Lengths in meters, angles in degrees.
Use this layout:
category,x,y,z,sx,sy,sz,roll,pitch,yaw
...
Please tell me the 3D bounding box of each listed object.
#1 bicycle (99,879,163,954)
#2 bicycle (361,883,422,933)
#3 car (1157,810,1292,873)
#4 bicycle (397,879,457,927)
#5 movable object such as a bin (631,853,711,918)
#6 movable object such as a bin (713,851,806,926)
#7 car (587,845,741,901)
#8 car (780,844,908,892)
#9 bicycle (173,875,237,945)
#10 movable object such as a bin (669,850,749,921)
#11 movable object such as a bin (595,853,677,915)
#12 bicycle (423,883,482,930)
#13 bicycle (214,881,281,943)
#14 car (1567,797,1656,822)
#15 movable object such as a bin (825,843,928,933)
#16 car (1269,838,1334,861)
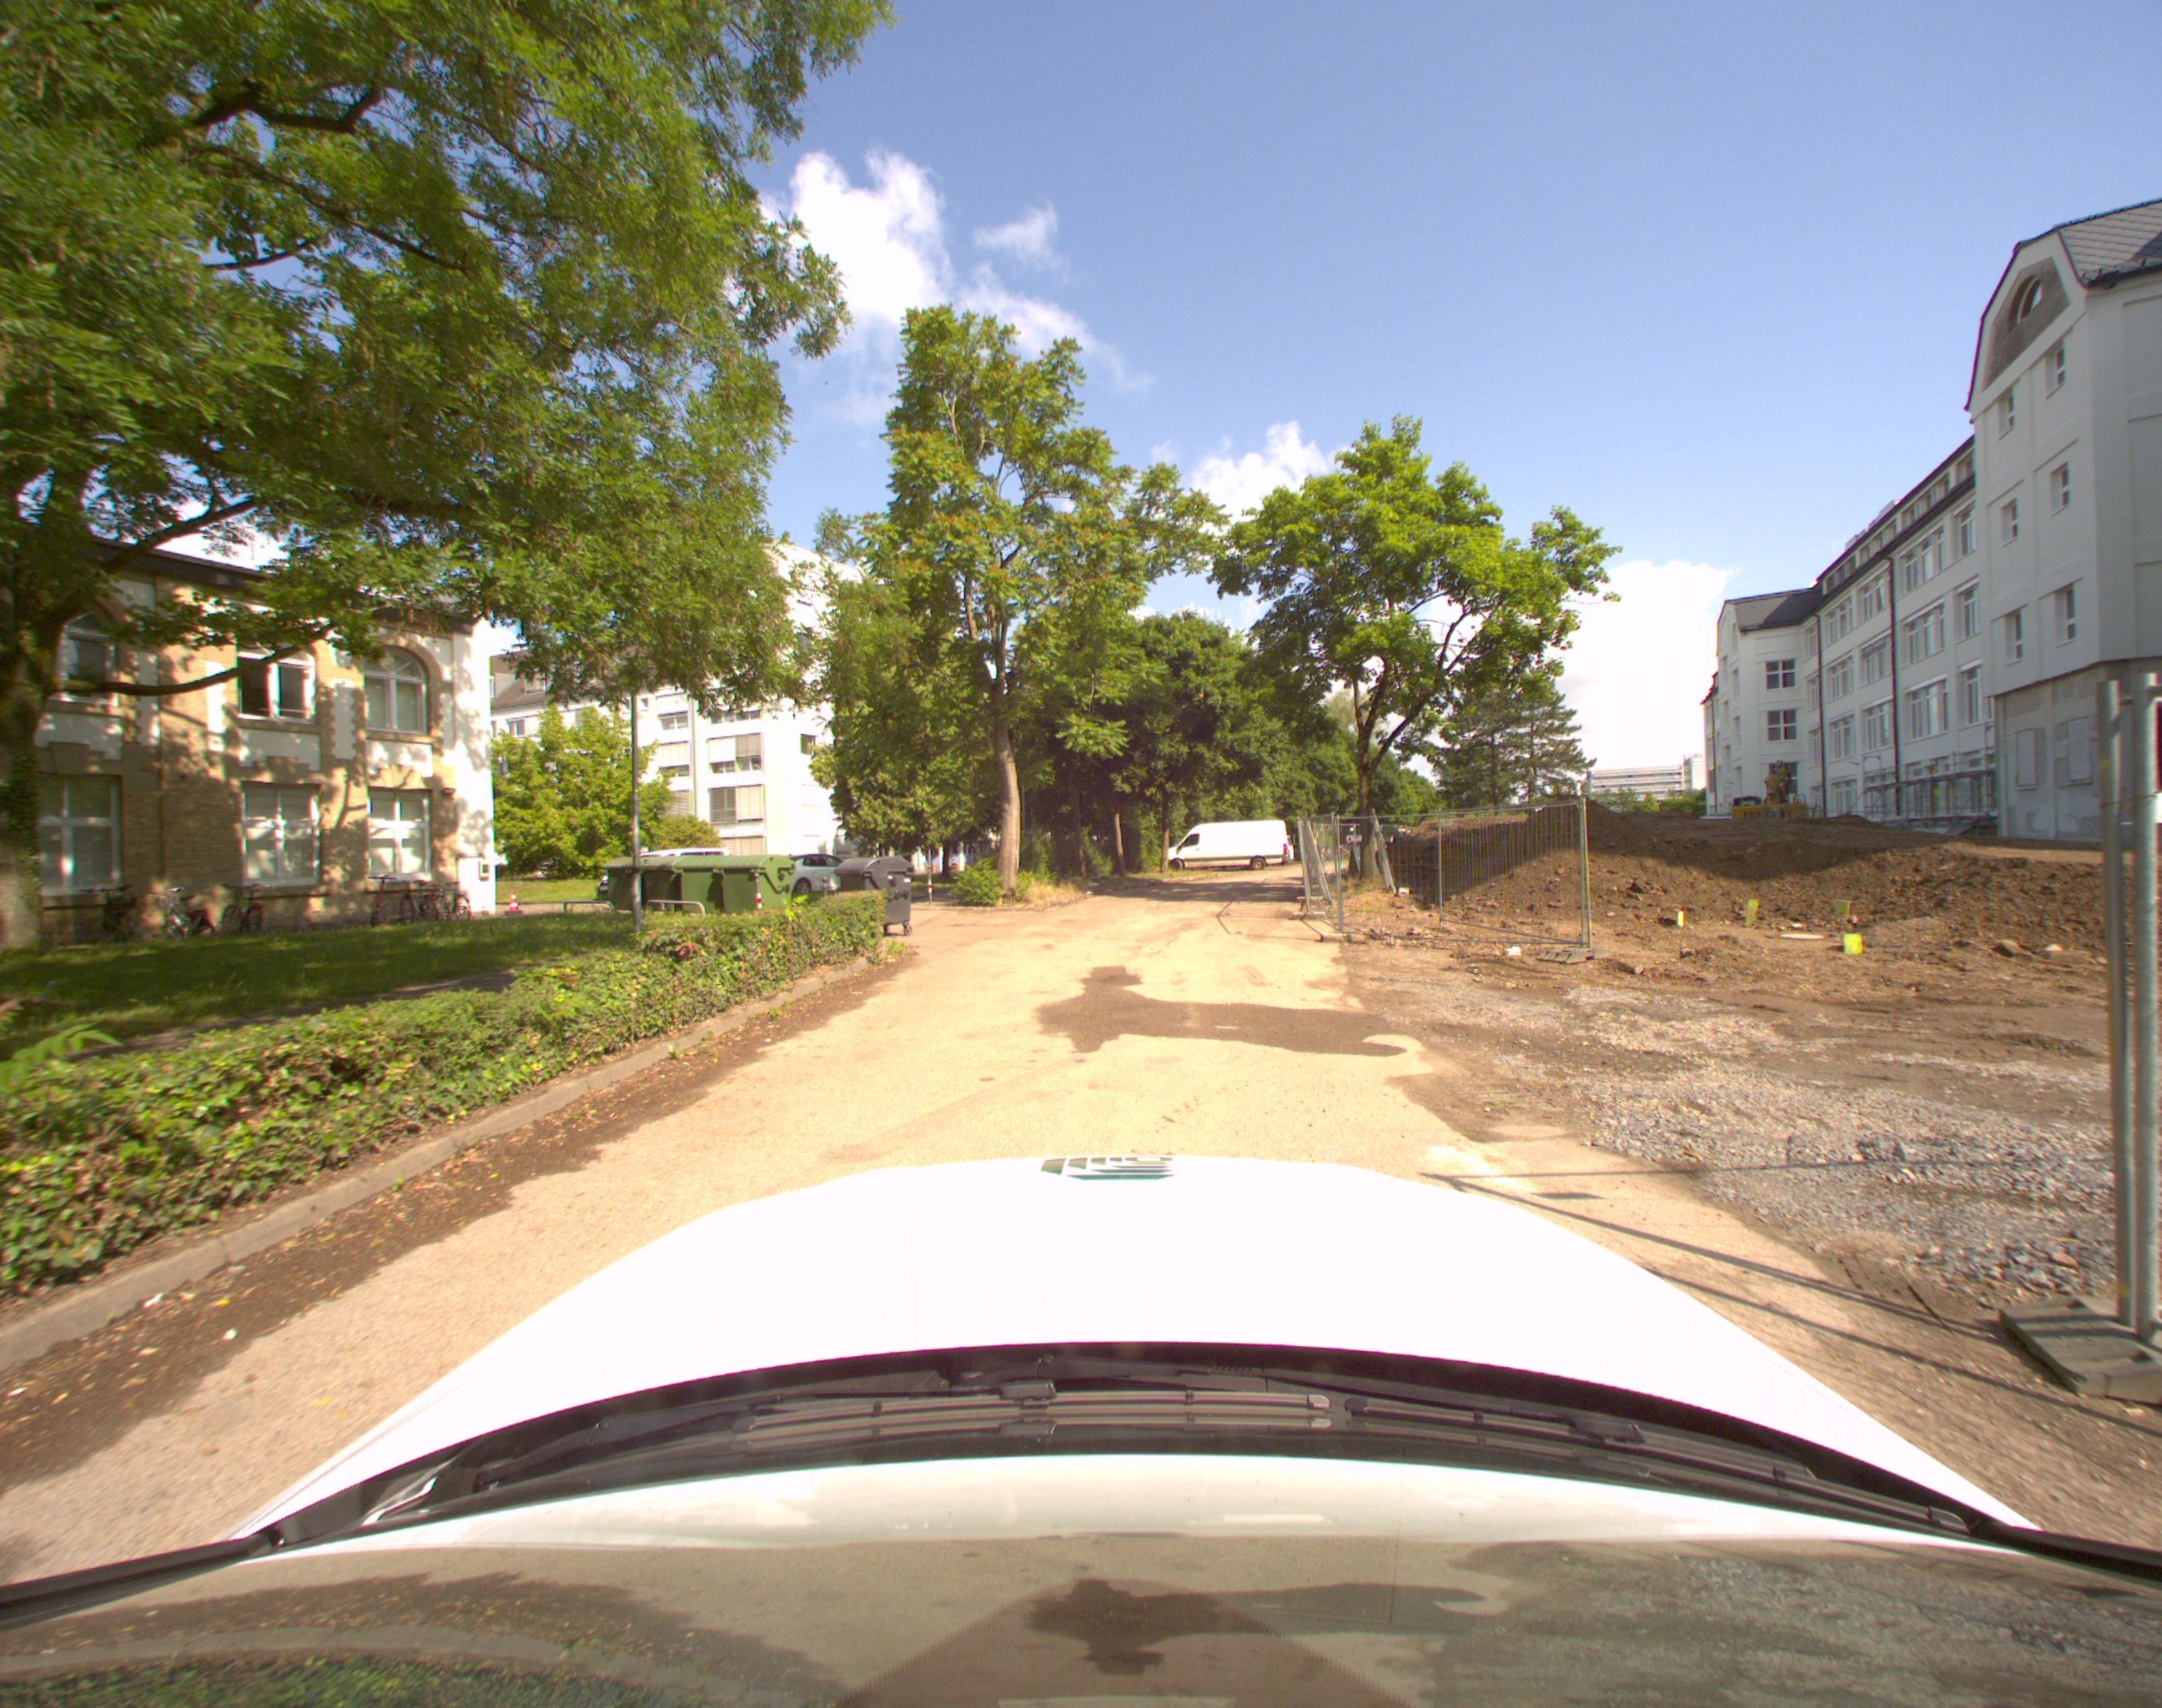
category,x,y,z,sx,sy,sz,roll,pitch,yaw
bicycle,-17.498,1.123,14.982,2.041,1.122,0.422,5,0,33
bicycle,-15.653,1.213,18.472,1.836,1.037,0.322,1,-3,27
car,7.806,-0.682,44.257,6.904,3.047,2.007,3,0,13
bicycle,-15.362,1.137,19.119,1.836,1.037,0.322,1,-3,27
movable object such as a bin,-9.103,0.693,18.097,1.219,1.349,0.951,2,-2,22
movable object such as a bin,-6.688,0.712,16.989,1.327,1.452,1.108,2,-2,21
car,-15.964,0.738,31.491,1.974,1.965,4.985,-2,-2,31
car,-7.690,0.434,26.786,1.736,1.420,3.940,1,0,29
bicycle,-17.010,1.062,15.792,2.040,1.216,0.422,1,-3,33
movable object such as a bin,-7.965,0.671,17.453,1.219,1.452,0.885,2,-2,23
movable object such as a bin,-10.357,0.687,18.959,1.365,1.349,0.951,2,-2,23
bicycle,-15.116,1.241,19.562,1.836,1.037,0.322,1,-3,27
bicycle,-16.892,1.151,16.495,1.836,1.143,0.360,1,-3,28
car,34.739,-2.882,53.513,4.807,1.428,1.856,1,-2,30
movable object such as a bin,-3.721,0.609,14.787,1.256,1.482,1.281,5,-1,-41
car,15.029,-0.313,55.544,3.950,1.428,1.855,2,-2,26
